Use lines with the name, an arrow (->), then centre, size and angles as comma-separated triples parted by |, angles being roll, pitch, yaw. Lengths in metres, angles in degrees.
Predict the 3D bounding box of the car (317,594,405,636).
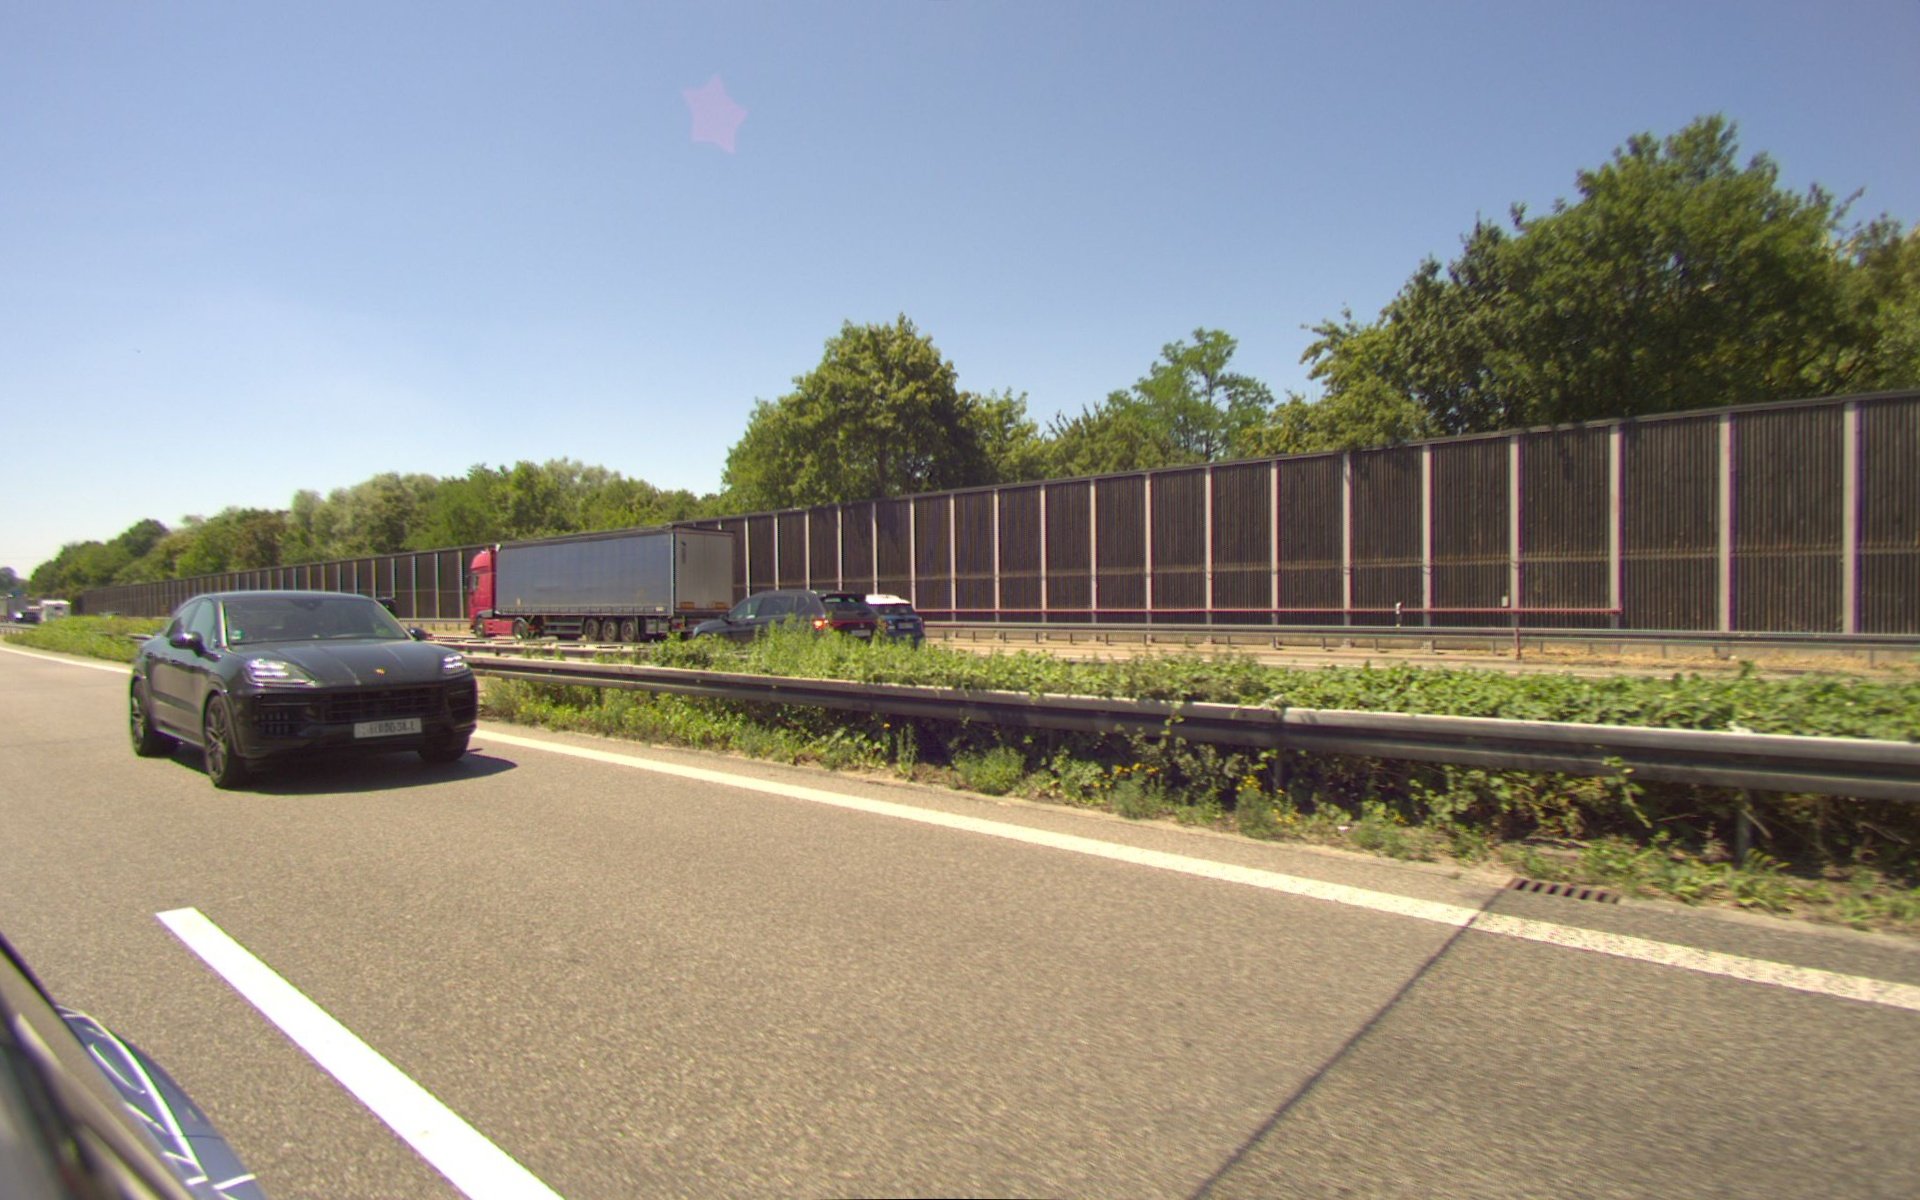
car -> -27.762, 0.687, 46.819 | 5.217, 1.829, 1.973 | -1, 0, 41

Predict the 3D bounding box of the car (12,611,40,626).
car -> -91.053, 1.782, 98.659 | 3.999, 1.365, 1.688 | -1, -1, 42

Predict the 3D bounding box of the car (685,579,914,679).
car -> -3.204, 0.505, 19.703 | 4.530, 1.733, 1.973 | -1, 0, 41

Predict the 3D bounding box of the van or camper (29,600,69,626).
van or camper -> -111.895, 1.625, 124.301 | 7.372, 2.936, 2.531 | -1, -6, 41

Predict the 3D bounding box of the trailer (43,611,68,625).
trailer -> -107.999, 2.173, 120.827 | 3.091, 1.590, 1.709 | -1, -6, 41

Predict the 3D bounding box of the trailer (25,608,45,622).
trailer -> -162.696, 2.610, 177.971 | 6.267, 2.495, 2.108 | -1, -1, 42

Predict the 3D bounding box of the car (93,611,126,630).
car -> -76.968, 1.849, 91.572 | 3.999, 1.612, 1.794 | -1, -1, 42

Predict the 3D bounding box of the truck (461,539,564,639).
truck -> -19.627, -0.448, 44.298 | 4.676, 4.118, 2.460 | -1, -1, 42

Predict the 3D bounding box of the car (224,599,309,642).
car -> -29.380, 0.830, 42.855 | 4.243, 1.733, 1.973 | -1, 0, 41

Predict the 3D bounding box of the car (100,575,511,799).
car -> -6.778, 0.671, 10.114 | 5.770, 1.637, 2.022 | -1, -1, 42

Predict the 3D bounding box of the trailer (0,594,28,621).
trailer -> -149.419, 1.225, 159.714 | 14.209, 4.107, 2.316 | -1, 0, 43

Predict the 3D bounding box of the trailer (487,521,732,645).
trailer -> -14.065, -0.510, 39.249 | 14.267, 4.118, 2.469 | -1, -1, 42
